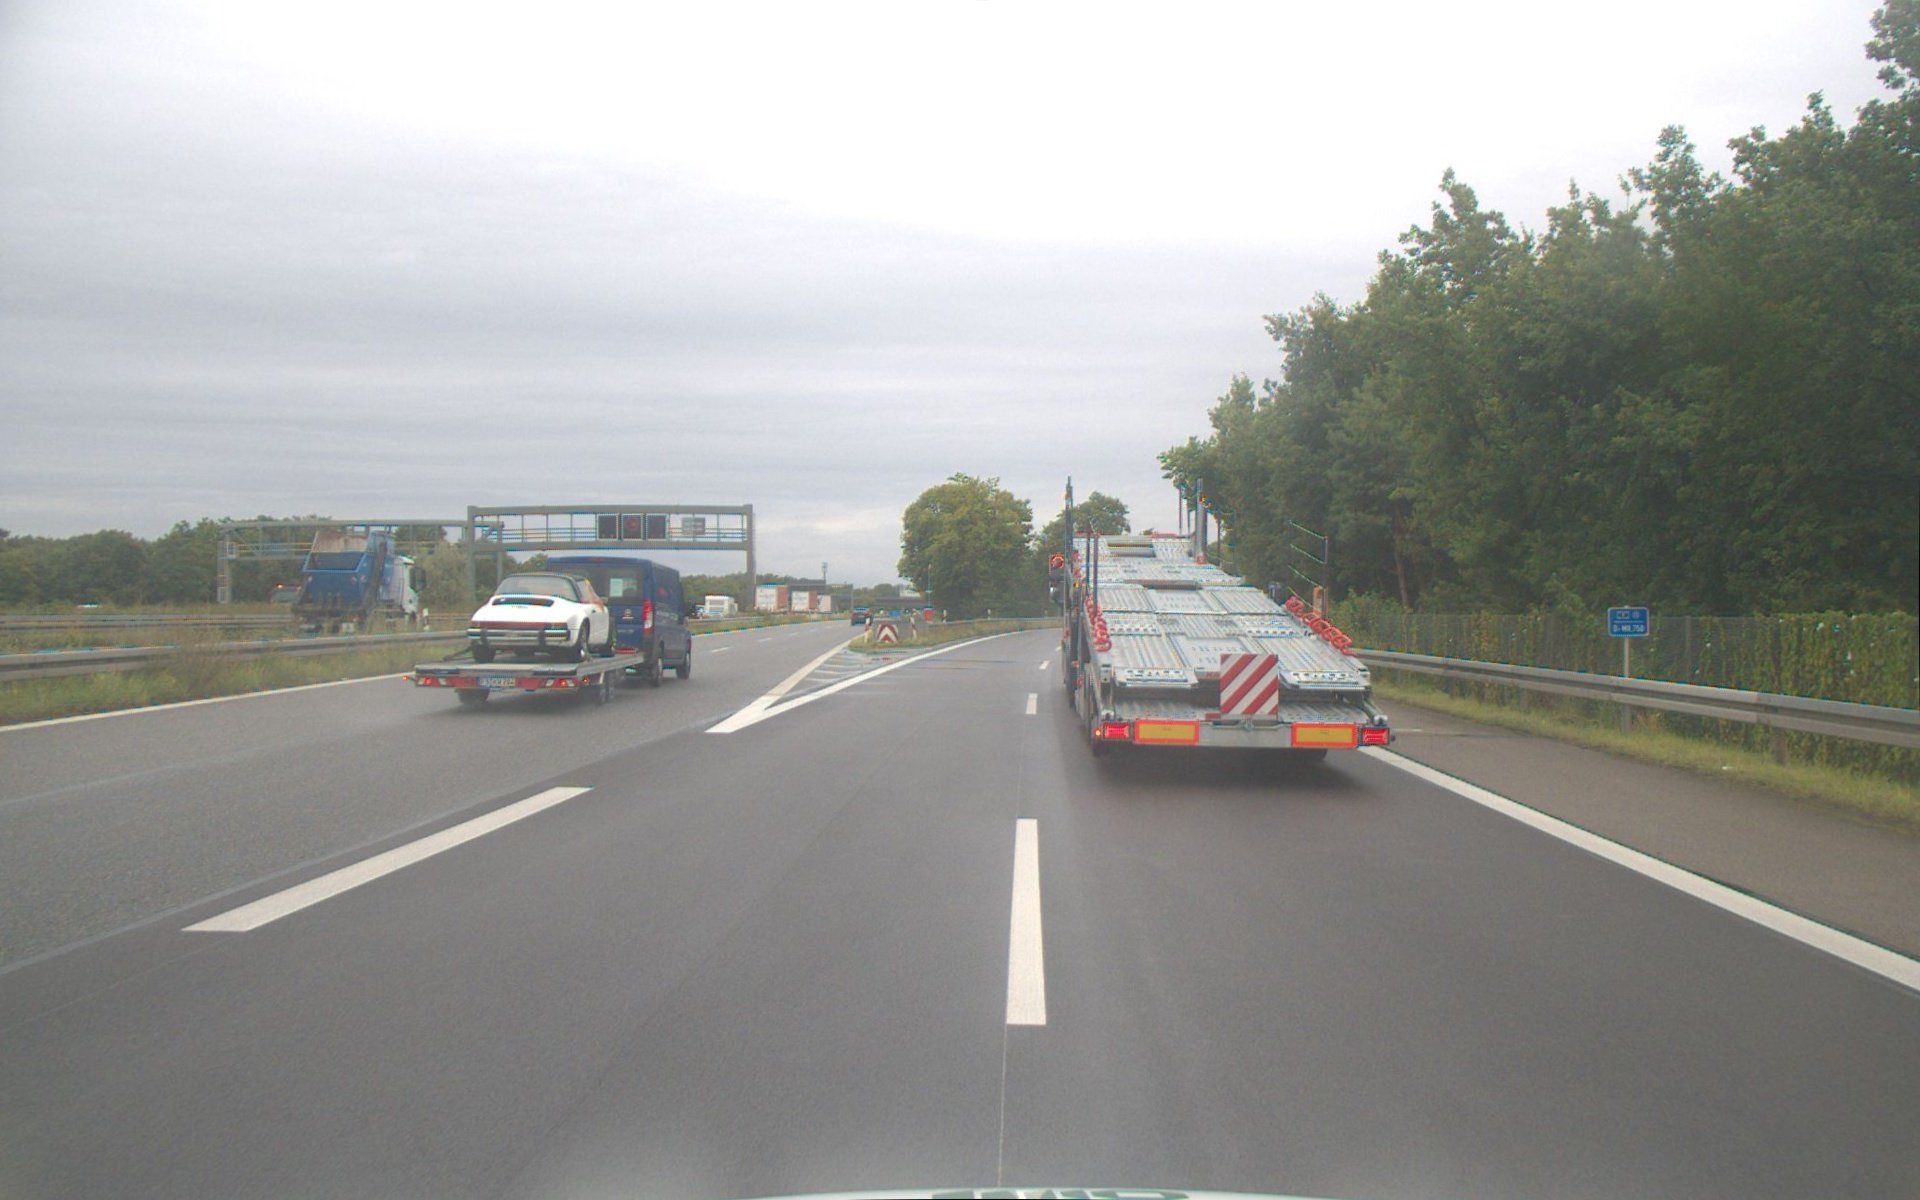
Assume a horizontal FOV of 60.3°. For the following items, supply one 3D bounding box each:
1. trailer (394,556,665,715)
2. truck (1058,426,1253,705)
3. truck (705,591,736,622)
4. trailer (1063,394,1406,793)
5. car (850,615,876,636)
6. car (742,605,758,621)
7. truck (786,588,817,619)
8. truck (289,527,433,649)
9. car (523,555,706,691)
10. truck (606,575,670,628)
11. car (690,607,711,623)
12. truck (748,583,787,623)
[{"bbox_3d":[-6.241,0.481,25.115,2.434,2.029,7.060,1,0,-2],"label":"trailer"},{"bbox_3d":[3.163,-0.501,29.089,2.681,4.037,9.132,2,0,3],"label":"truck"},{"bbox_3d":[-22.072,0.631,152.488,2.198,2.751,5.277,1,0,-1],"label":"truck"},{"bbox_3d":[2.656,-0.045,19.266,2.719,3.342,10.410,1,0,3],"label":"trailer"},{"bbox_3d":[-8.075,2.114,138.345,1.921,1.666,5.623,1,-1,-1],"label":"car"},{"bbox_3d":[-27.615,1.695,217.669,1.695,2.049,3.998,1,-1,-2],"label":"car"},{"bbox_3d":[-23.424,0.545,244.932,3.657,4.494,11.893,1,0,-1],"label":"truck"},{"bbox_3d":[-20.481,-0.343,56.985,2.585,3.879,7.338,1,-1,-3],"label":"truck"},{"bbox_3d":[-6.456,0.413,31.751,2.325,2.306,6.254,1,0,-2],"label":"car"},{"bbox_3d":[-21.541,0.128,111.106,2.799,3.424,8.628,1,0,-1],"label":"truck"},{"bbox_3d":[-26.560,1.500,169.283,1.649,1.557,3.997,1,0,-4],"label":"car"},{"bbox_3d":[-22.860,0.364,196.980,3.657,4.494,10.191,1,0,-1],"label":"truck"}]
